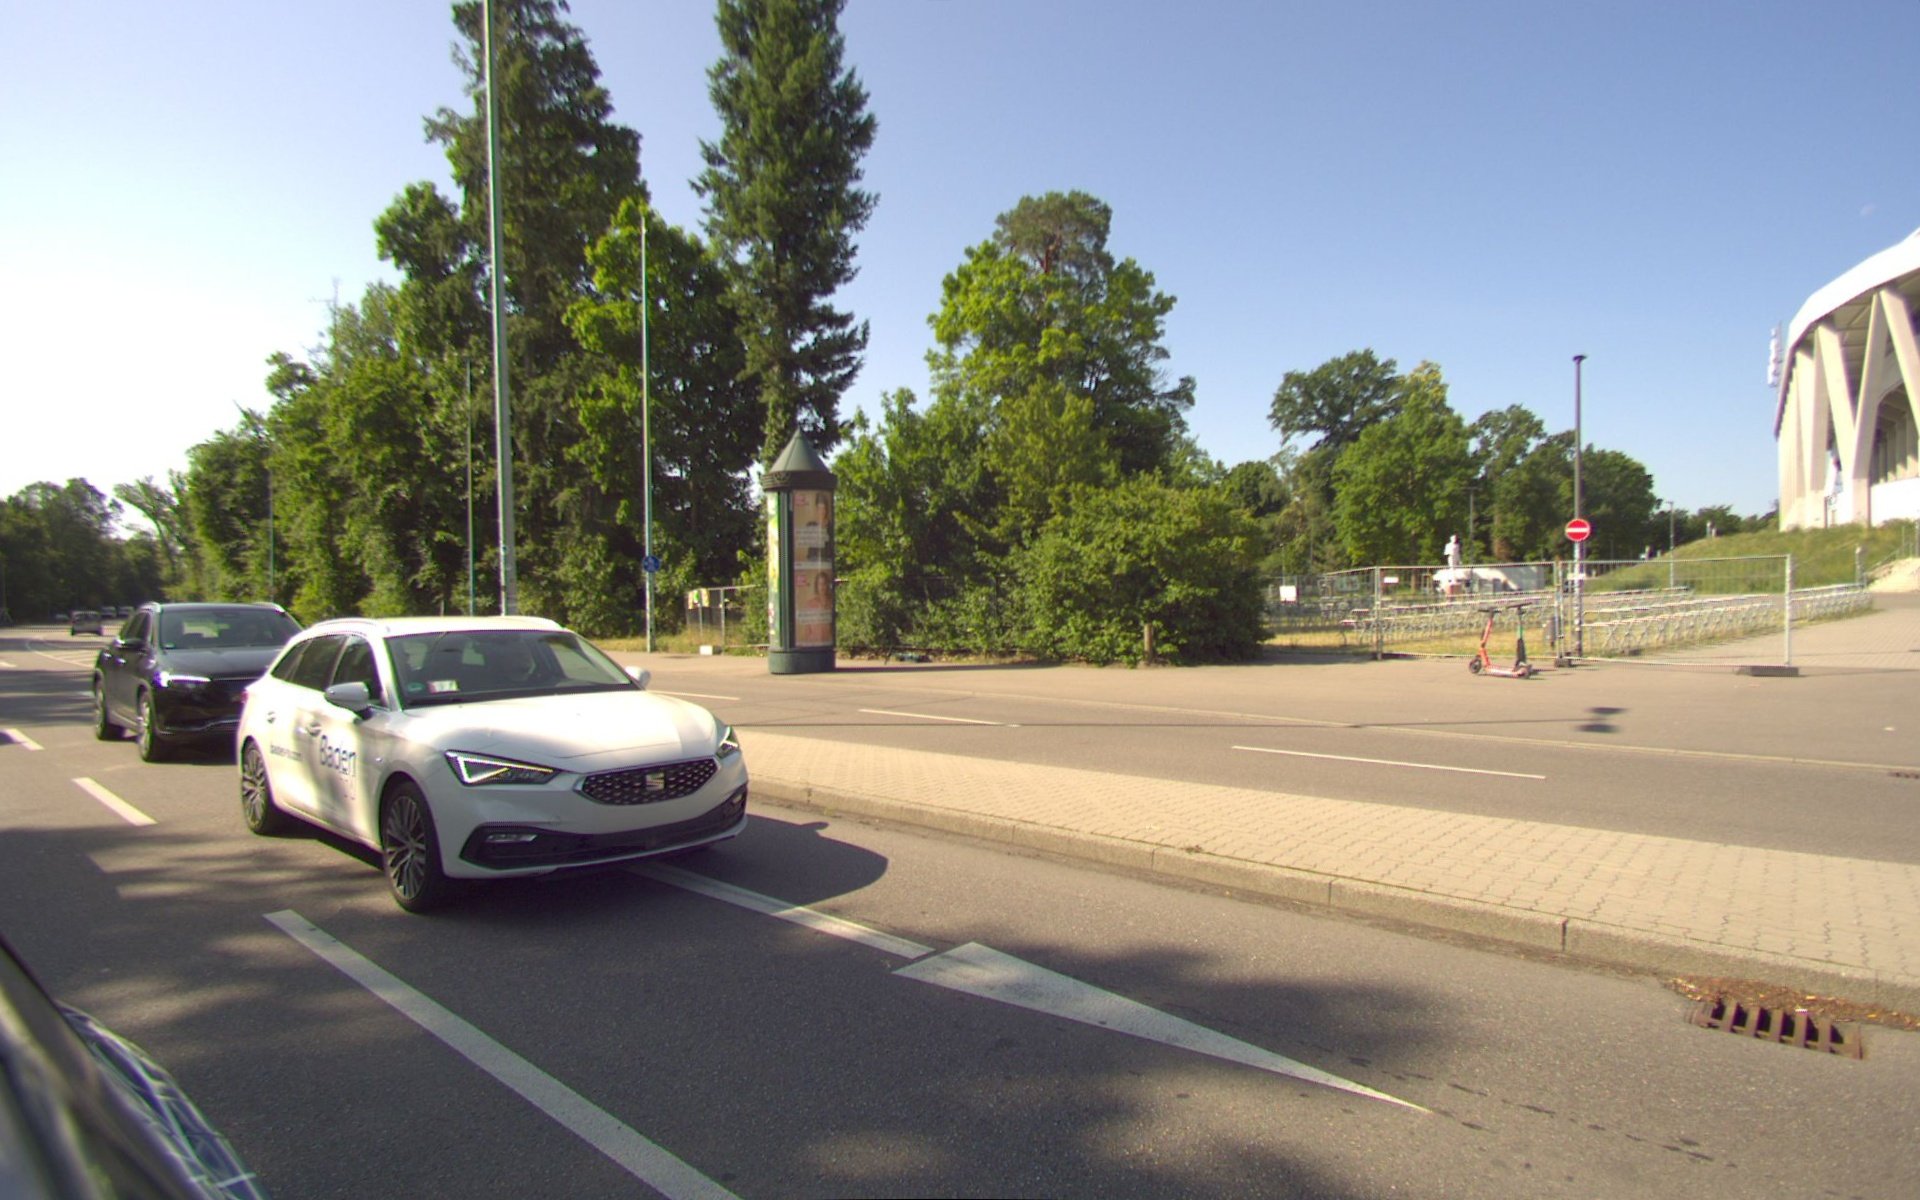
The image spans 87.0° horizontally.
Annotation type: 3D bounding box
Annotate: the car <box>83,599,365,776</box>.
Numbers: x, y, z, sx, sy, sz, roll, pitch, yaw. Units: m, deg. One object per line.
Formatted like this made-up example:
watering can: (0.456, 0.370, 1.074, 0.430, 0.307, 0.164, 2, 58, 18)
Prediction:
car: (-8.373, 0.852, 11.357, 4.273, 1.608, 1.785, -2, -1, 43)

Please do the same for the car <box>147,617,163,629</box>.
car: (-122.981, 3.504, 154.670, 1.828, 1.630, 4.009, -1, 0, -37)

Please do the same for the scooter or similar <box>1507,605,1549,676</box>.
scooter or similar: (10.228, 0.710, 18.240, 0.392, 1.231, 1.076, -1, 0, 16)

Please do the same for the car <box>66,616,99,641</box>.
car: (-69.217, 2.199, 79.820, 1.850, 1.874, 4.004, -1, 0, -43)

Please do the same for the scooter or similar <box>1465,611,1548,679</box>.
scooter or similar: (9.560, 0.776, 17.724, 0.390, 1.154, 1.197, -1, 0, -44)

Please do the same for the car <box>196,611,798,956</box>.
car: (-3.217, 0.812, 6.447, 4.717, 1.437, 1.707, -1, -1, 41)
